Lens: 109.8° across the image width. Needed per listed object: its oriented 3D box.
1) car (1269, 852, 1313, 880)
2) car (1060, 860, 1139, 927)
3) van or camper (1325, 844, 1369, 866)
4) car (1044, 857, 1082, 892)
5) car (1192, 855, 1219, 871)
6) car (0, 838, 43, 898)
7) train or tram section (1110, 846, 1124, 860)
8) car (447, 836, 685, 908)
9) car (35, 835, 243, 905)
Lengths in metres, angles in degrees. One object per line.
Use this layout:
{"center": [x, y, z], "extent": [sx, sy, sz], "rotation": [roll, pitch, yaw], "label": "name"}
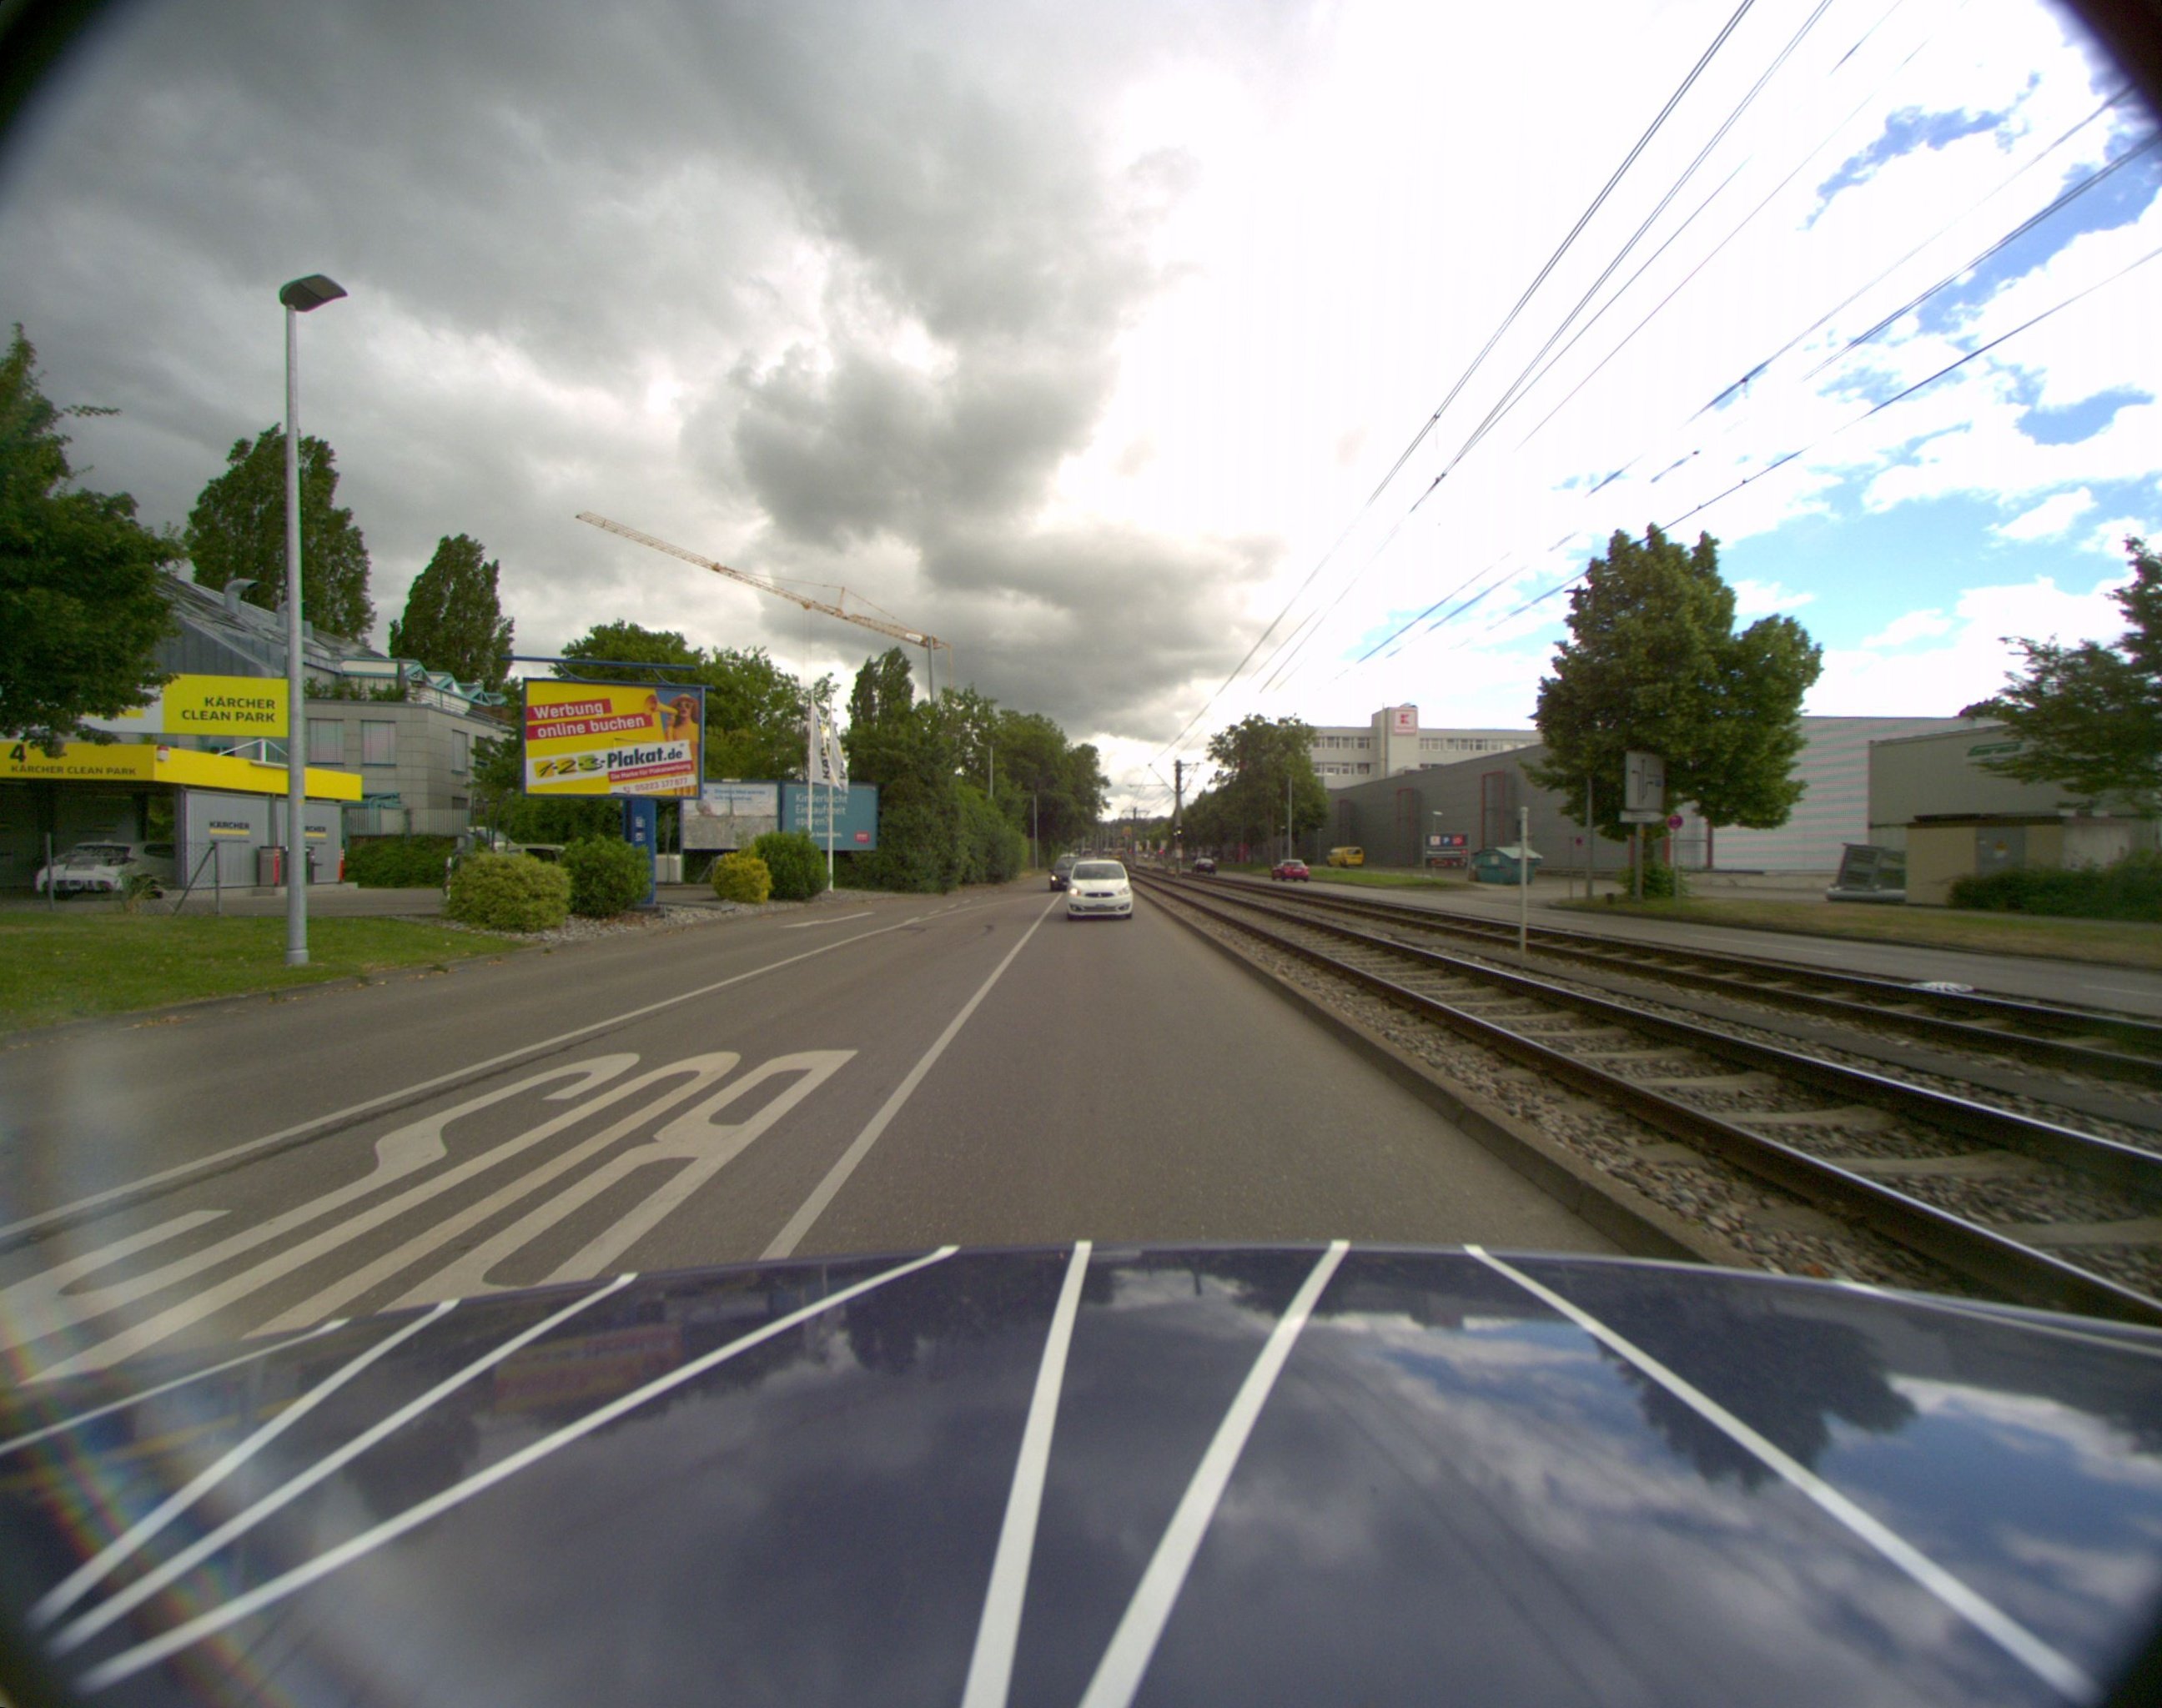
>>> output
{"center": [14.078, 0.780, 51.240], "extent": [1.797, 1.761, 3.999], "rotation": [0, 0, -1], "label": "car"}
{"center": [0.423, 0.919, 19.408], "extent": [1.765, 1.469, 4.031], "rotation": [-2, 0, 0], "label": "car"}
{"center": [25.110, 0.056, 71.910], "extent": [2.109, 2.002, 5.241], "rotation": [-1, 0, -3], "label": "van or camper"}
{"center": [-0.841, 0.955, 37.450], "extent": [1.714, 1.586, 4.000], "rotation": [-1, 0, 1], "label": "car"}
{"center": [11.618, 0.849, 71.058], "extent": [1.763, 1.393, 4.443], "rotation": [2, 0, 0], "label": "car"}
{"center": [-28.498, 0.358, 18.390], "extent": [1.839, 1.564, 3.926], "rotation": [0, 0, -12], "label": "car"}
{"center": [9.989, -0.142, 211.120], "extent": [2.778, 3.753, 13.785], "rotation": [-1, 0, -1], "label": "train or tram section"}
{"center": [-12.741, 0.424, 19.186], "extent": [4.029, 1.646, 2.944], "rotation": [0, 0, -6], "label": "car"}
{"center": [-24.108, 0.368, 19.666], "extent": [1.633, 1.630, 3.525], "rotation": [0, 0, -16], "label": "car"}
